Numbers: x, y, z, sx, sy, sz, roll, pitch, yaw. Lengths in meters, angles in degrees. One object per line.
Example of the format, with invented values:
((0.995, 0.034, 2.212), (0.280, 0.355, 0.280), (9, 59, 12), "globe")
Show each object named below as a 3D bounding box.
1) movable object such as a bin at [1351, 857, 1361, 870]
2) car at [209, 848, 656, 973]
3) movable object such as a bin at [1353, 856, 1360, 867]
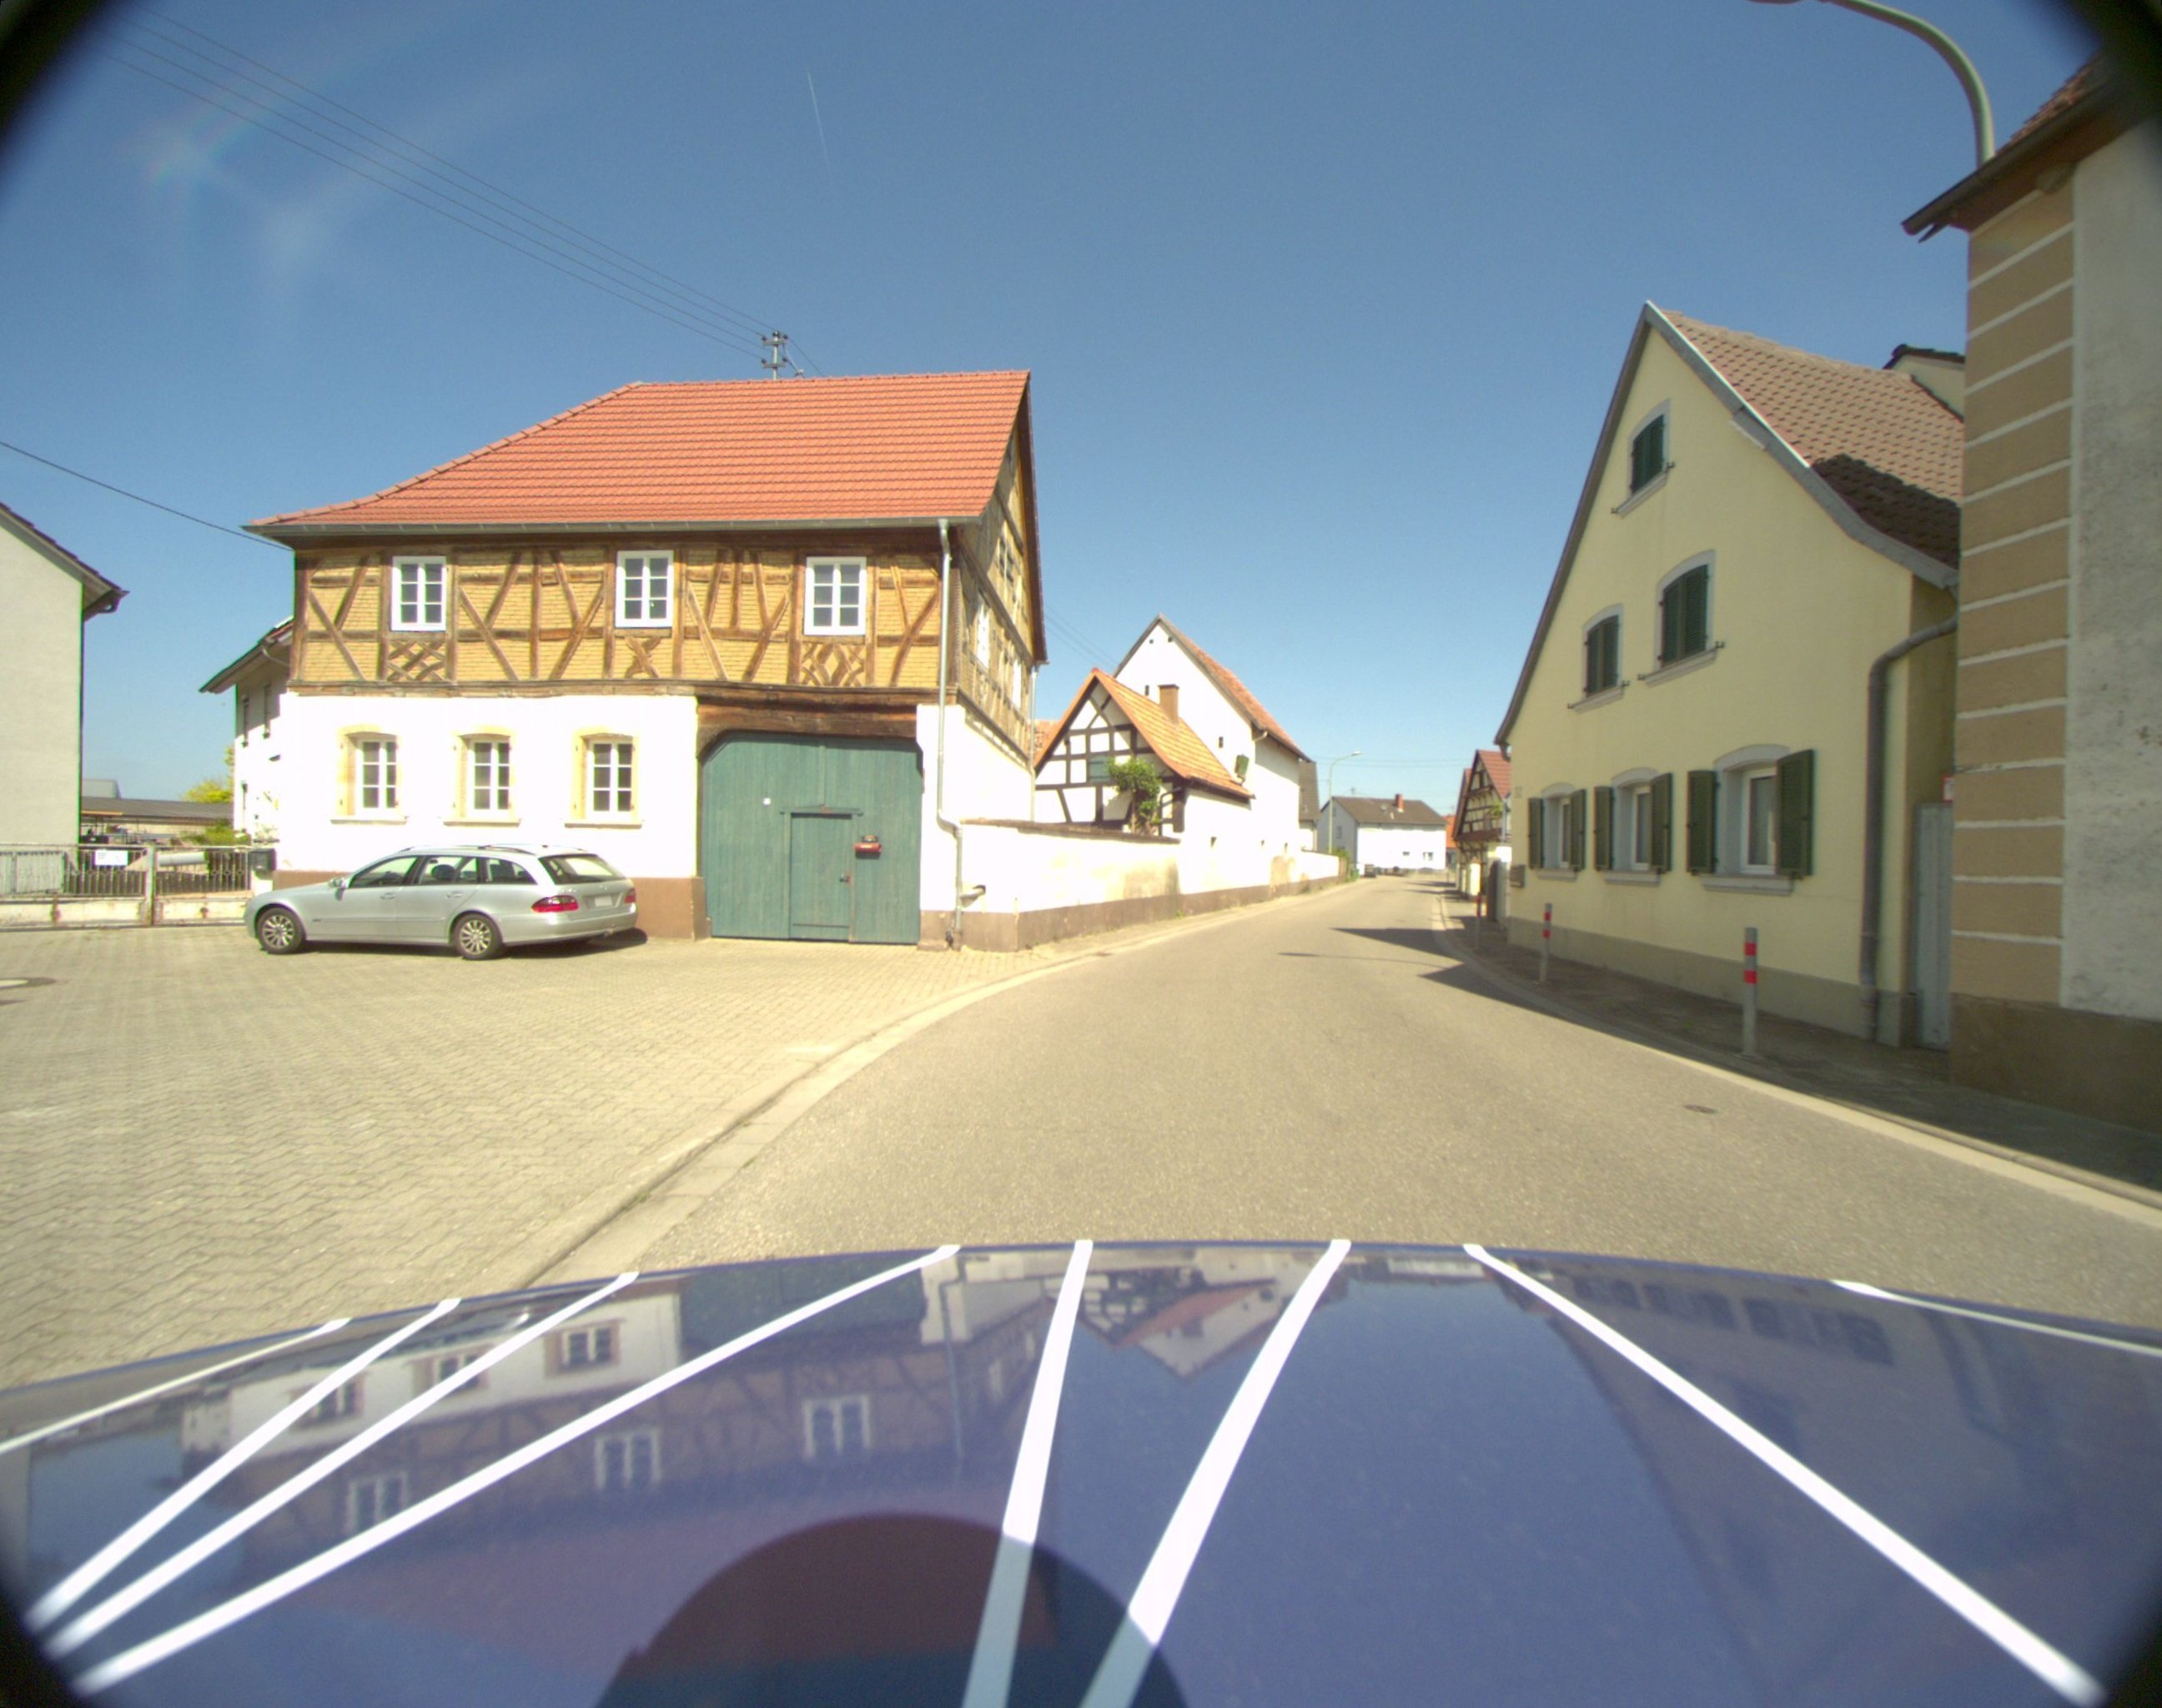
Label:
((21.069, 0.743, 58.161), (0.551, 0.971, 0.433), (1, 1, -1), "movable object such as a bin")
((-8.854, 0.691, 10.638), (4.761, 1.444, 2.001), (1, 1, 6), "car")
((24.657, 0.667, 68.034), (0.504, 0.971, 0.433), (0, 1, 24), "movable object such as a bin")
